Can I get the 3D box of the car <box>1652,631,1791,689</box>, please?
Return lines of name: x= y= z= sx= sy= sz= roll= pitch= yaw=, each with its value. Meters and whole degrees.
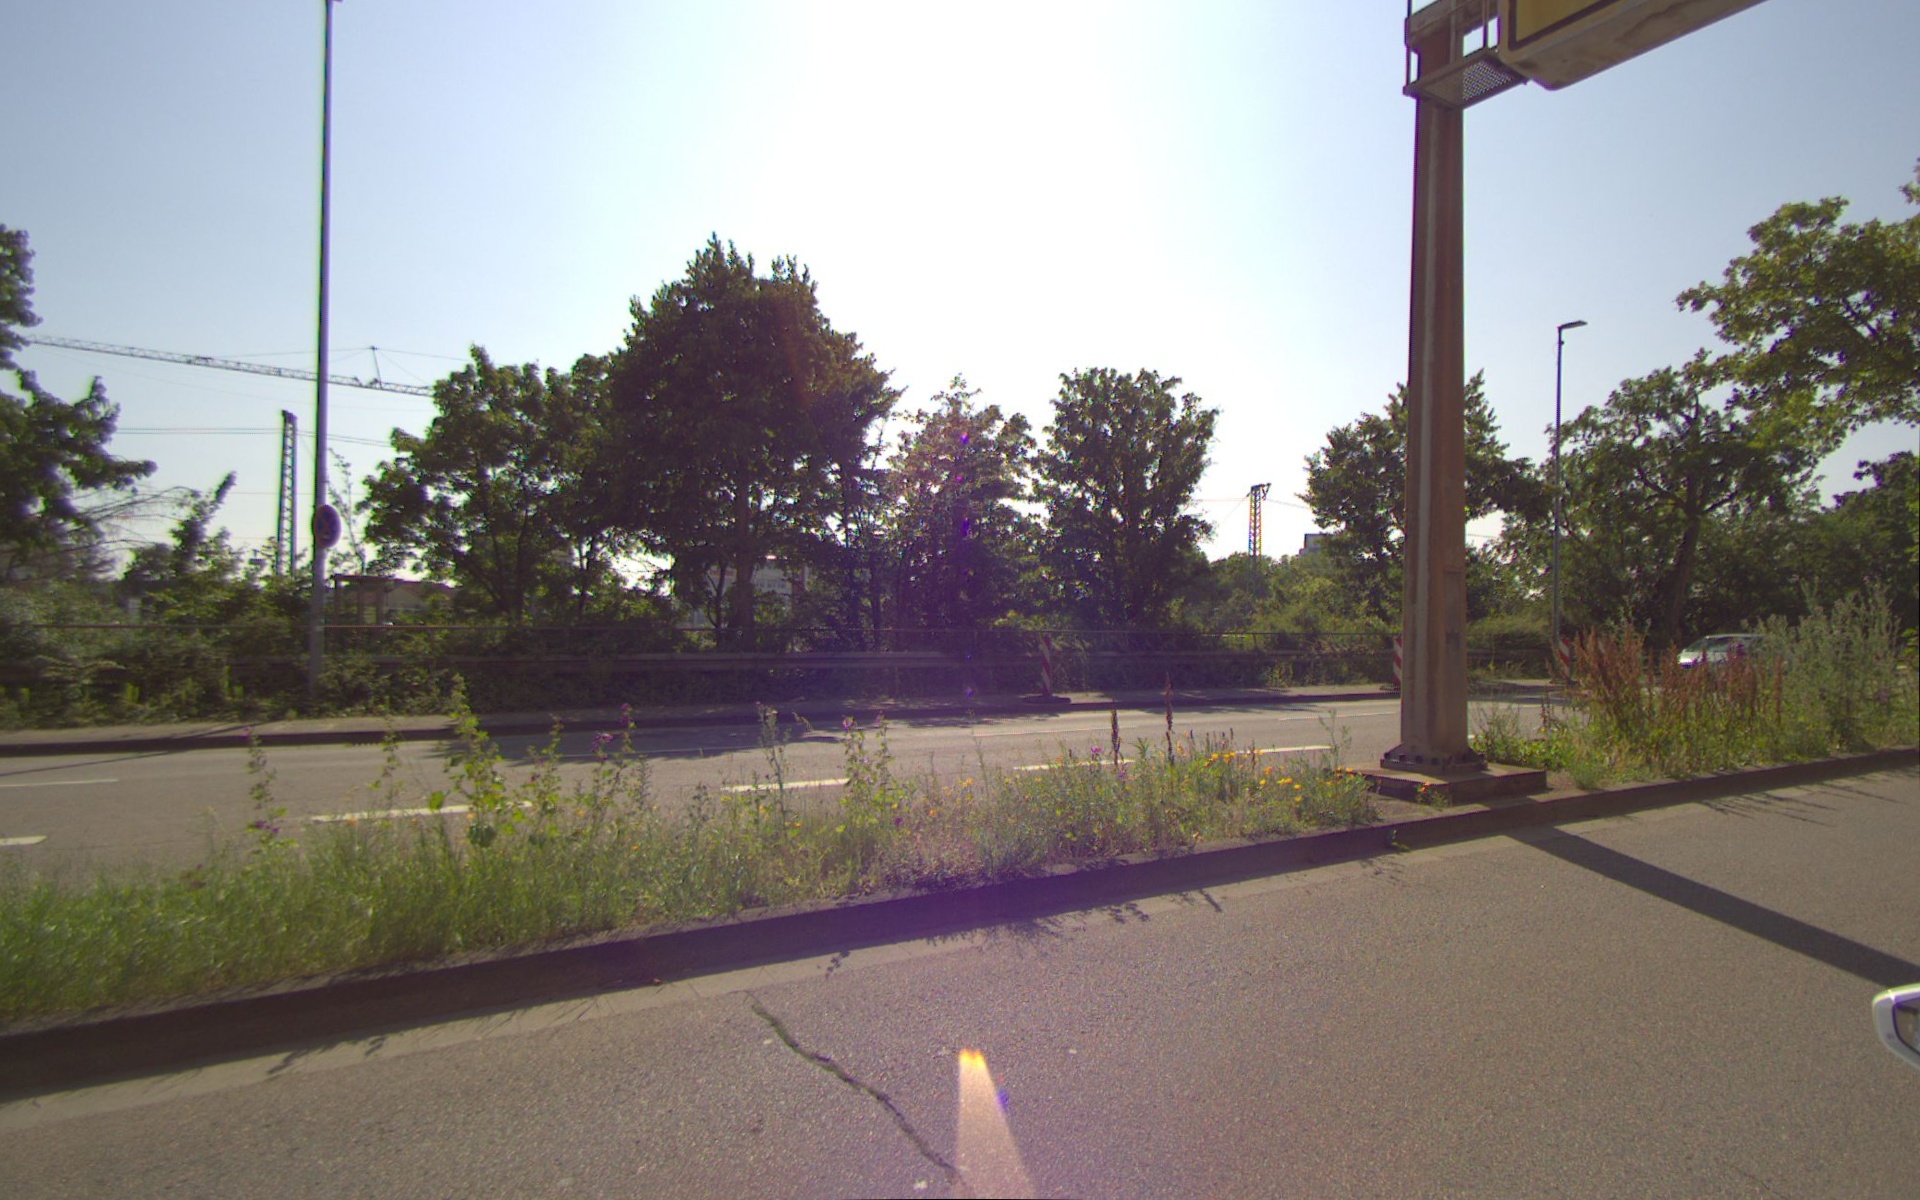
car: x=20.365 y=1.561 z=26.842 sx=3.925 sy=1.435 sz=1.637 roll=2 pitch=-2 yaw=-31
